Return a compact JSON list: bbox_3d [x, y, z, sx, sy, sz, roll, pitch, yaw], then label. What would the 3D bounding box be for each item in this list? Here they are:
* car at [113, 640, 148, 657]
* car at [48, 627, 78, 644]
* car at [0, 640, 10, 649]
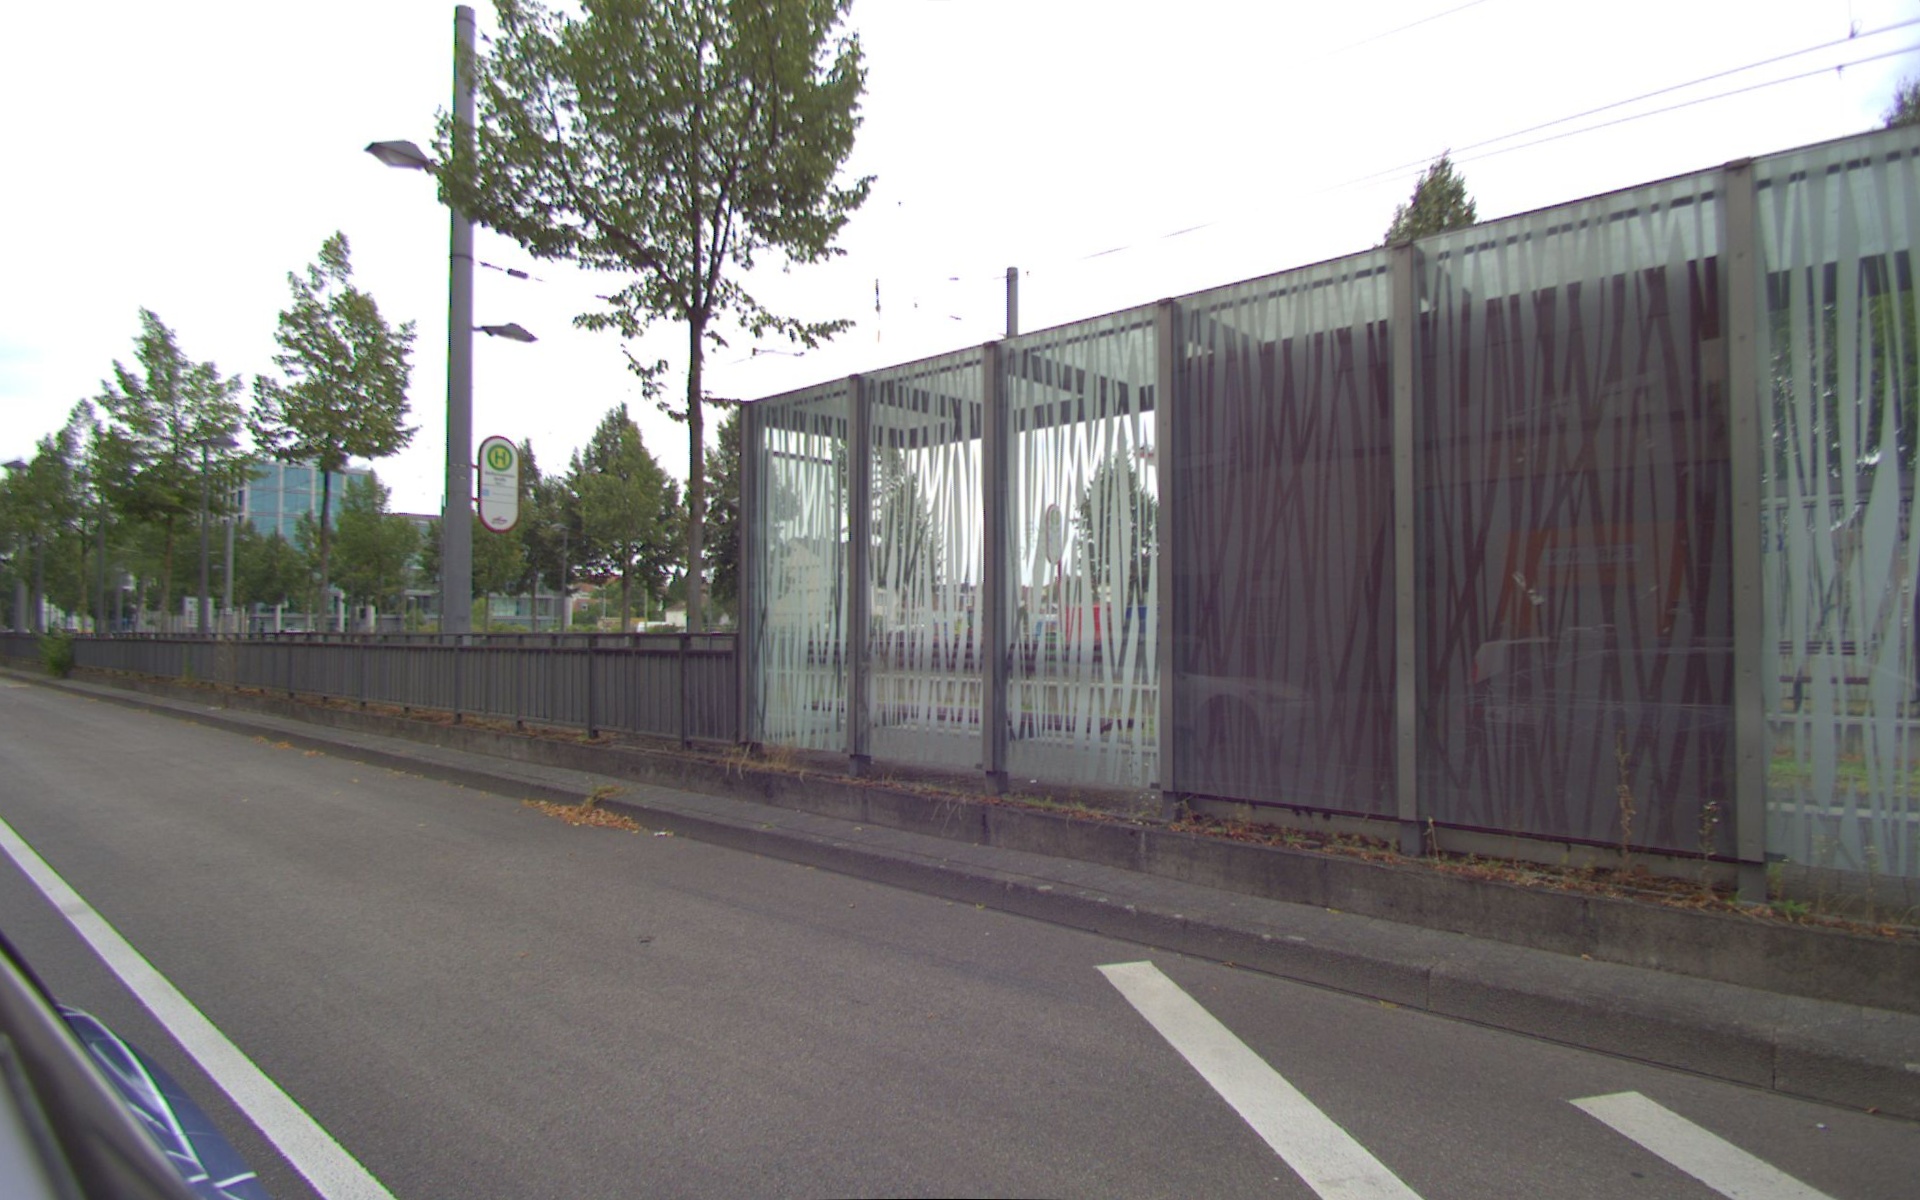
[{"bbox_3d":[-84.079,4.916,102.522,4.687,1.669,1.809,-2,-3,39],"label":"car"},{"bbox_3d":[-105.122,4.158,118.616,5.093,1.959,1.973,-2,-3,41],"label":"car"},{"bbox_3d":[-158.983,7.398,167.862,3.864,1.468,1.730,-2,-3,42],"label":"car"}]
